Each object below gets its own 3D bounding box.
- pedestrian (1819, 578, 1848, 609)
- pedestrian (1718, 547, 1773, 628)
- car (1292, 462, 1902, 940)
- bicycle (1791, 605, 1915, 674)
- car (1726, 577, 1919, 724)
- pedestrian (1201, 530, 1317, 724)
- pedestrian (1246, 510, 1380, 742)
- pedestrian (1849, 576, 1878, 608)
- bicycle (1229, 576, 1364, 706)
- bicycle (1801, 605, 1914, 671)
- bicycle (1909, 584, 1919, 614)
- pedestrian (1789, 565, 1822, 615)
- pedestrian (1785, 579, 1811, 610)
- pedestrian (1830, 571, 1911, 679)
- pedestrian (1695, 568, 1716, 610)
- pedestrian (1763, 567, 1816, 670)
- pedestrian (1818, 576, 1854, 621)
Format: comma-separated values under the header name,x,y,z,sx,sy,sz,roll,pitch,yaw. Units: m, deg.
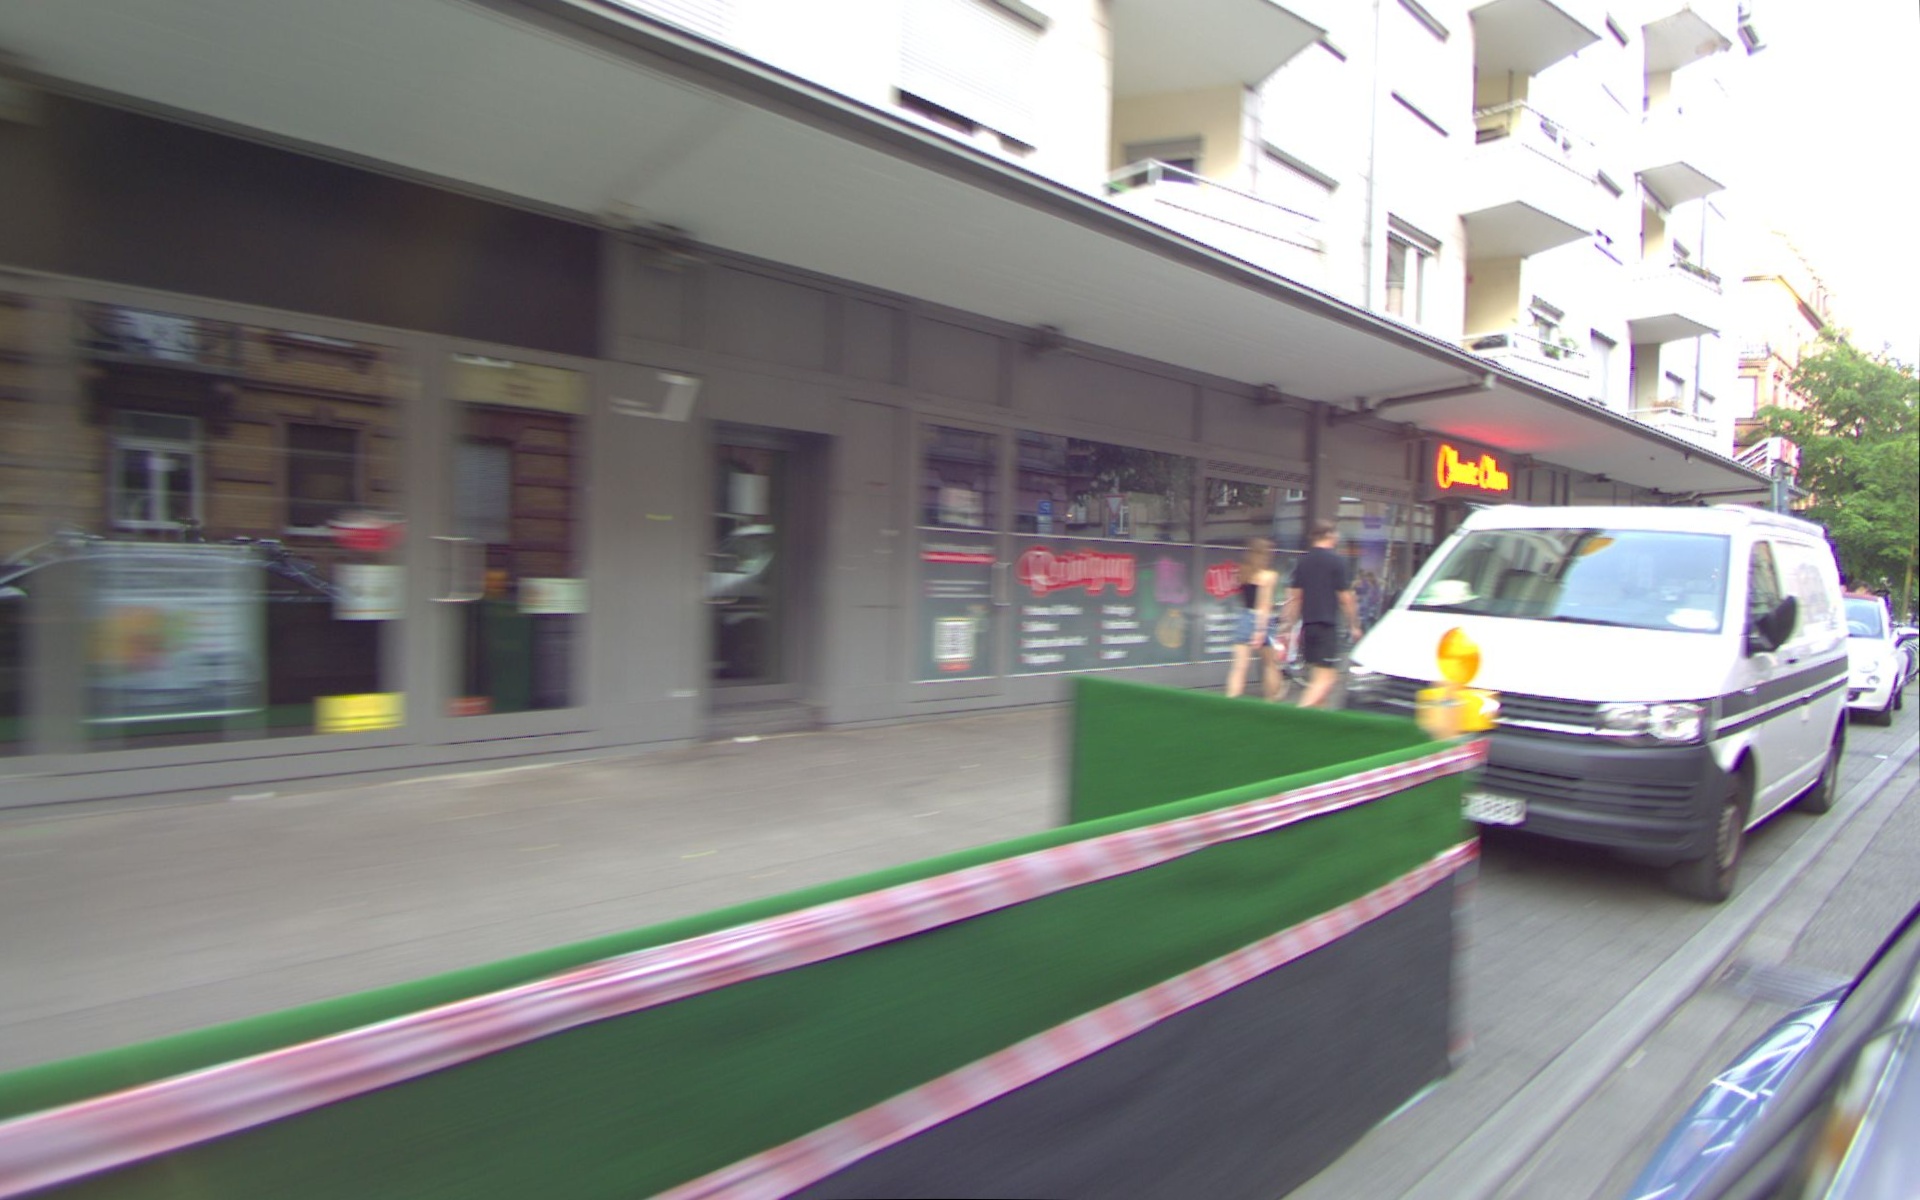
name,x,y,z,sx,sy,sz,roll,pitch,yaw
pedestrian,36.981,-0.289,42.847,0.662,1.288,0.641,-1,2,-3
pedestrian,19.507,-0.328,25.141,1.169,1.934,0.762,-1,4,-41
car,4.394,0.339,6.577,4.916,1.997,1.963,-1,4,-41
bicycle,15.405,0.655,17.493,0.501,1.014,1.485,-1,5,-34
car,10.990,0.510,12.741,3.367,1.519,1.594,-1,5,-44
pedestrian,2.746,0.208,9.307,0.732,1.685,0.710,-2,4,-42
pedestrian,2.996,0.177,8.601,0.846,1.850,0.710,-2,4,-42
pedestrian,38.663,-0.338,43.320,0.715,1.321,0.744,2,2,29
bicycle,3.674,0.385,10.959,0.907,1.210,1.690,4,5,35
bicycle,15.748,0.646,17.781,0.502,0.995,1.419,-2,5,-44
bicycle,39.351,-0.004,40.868,0.657,1.179,2.102,3,3,20
pedestrian,32.748,-0.396,39.200,0.892,1.891,0.676,-2,2,-27
pedestrian,35.149,-0.232,42.457,0.667,1.288,0.636,0,2,21
pedestrian,14.195,0.379,15.790,0.637,1.619,0.591,2,3,8
pedestrian,31.518,-0.463,42.781,0.672,1.766,0.631,1,2,40
pedestrian,13.748,0.290,16.775,0.560,1.651,0.716,5,3,41
pedestrian,32.160,-0.066,37.165,0.850,1.627,0.540,2,1,-15
